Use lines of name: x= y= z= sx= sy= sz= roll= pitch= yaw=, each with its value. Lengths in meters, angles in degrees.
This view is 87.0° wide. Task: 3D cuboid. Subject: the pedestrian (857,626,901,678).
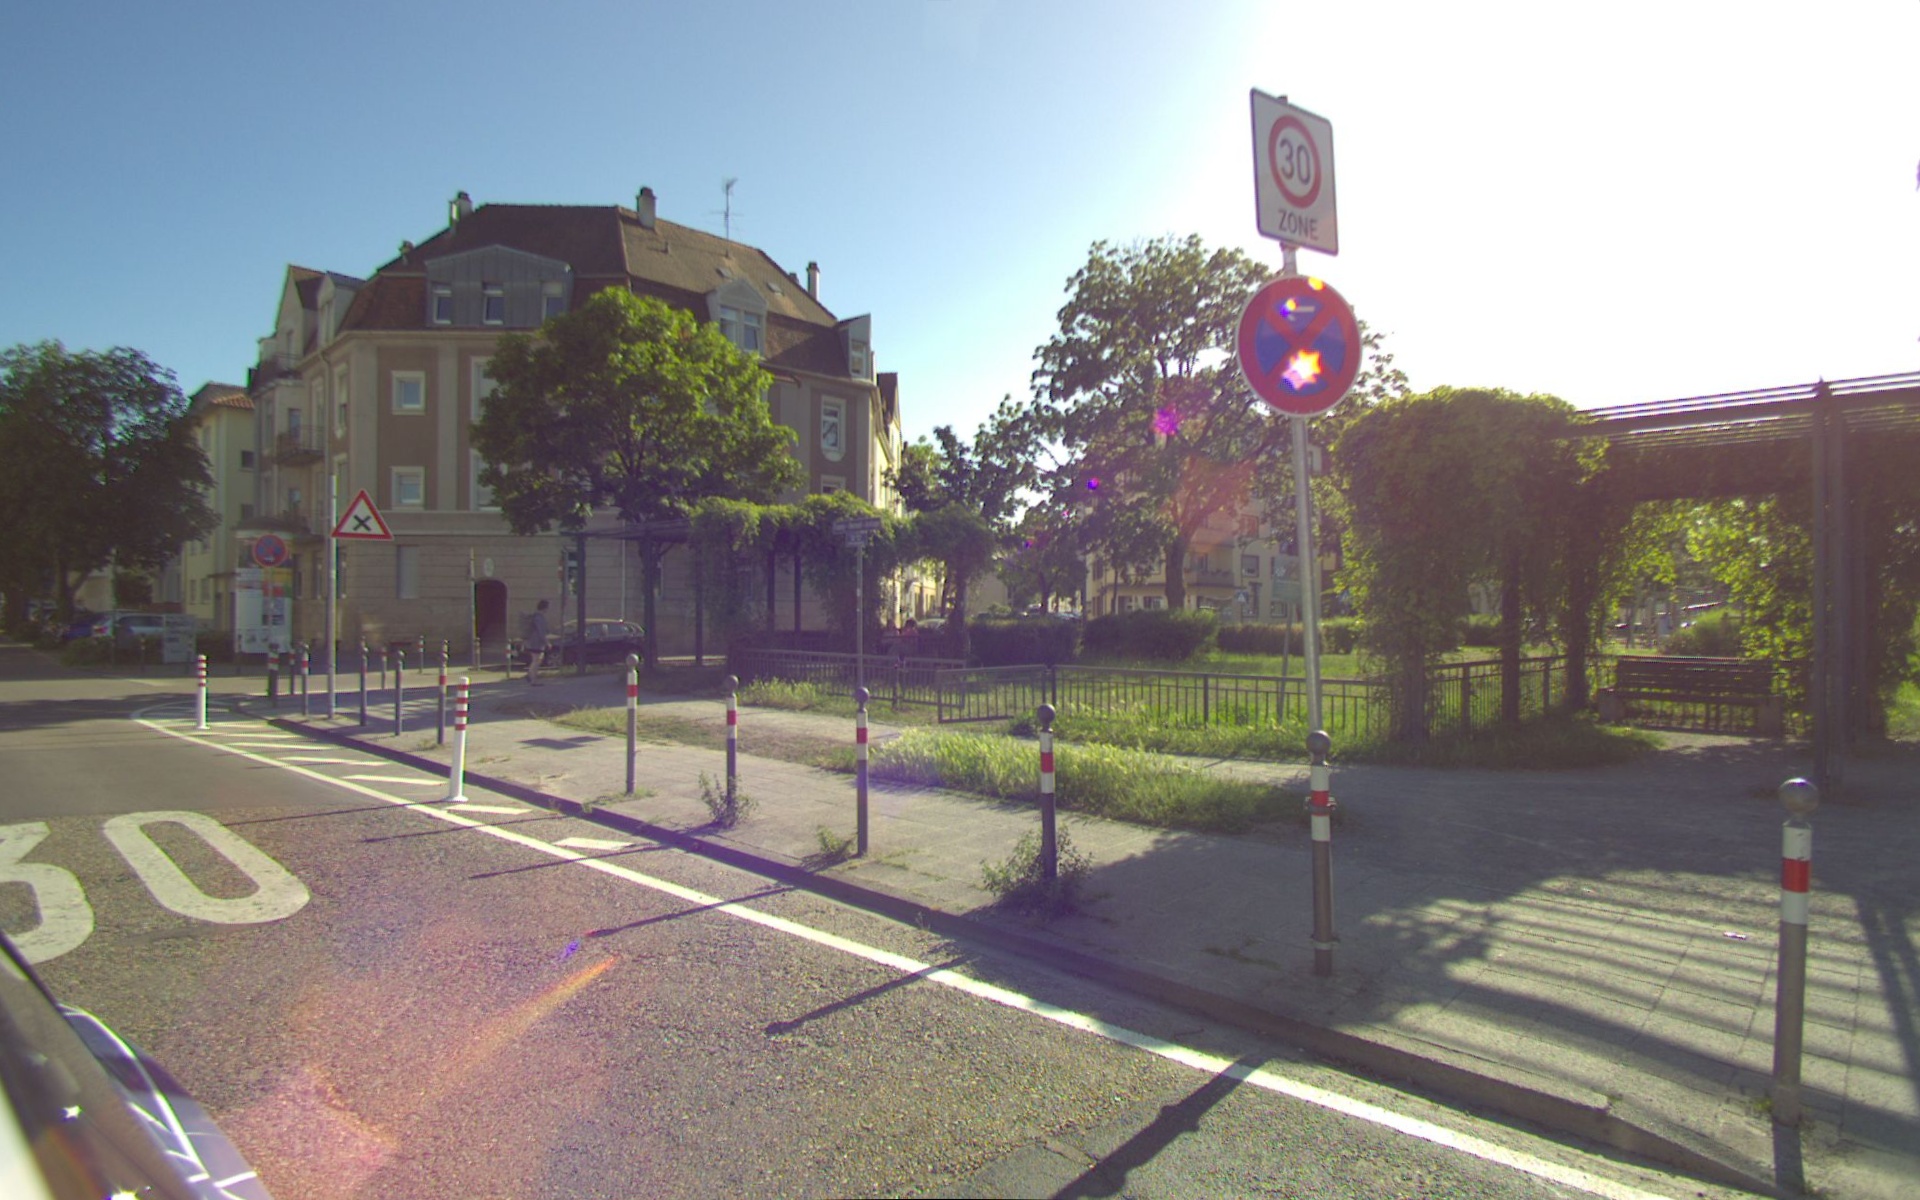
pedestrian: x=-1.855 y=1.181 z=23.175 sx=0.833 sy=1.158 sz=0.599 roll=2 pitch=-2 yaw=-45

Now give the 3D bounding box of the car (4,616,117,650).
car: x=-43.214 y=1.562 z=48.683 sx=1.686 sy=1.506 sz=3.751 roll=-1 pitch=-1 yaw=31

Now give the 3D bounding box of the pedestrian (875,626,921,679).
pedestrian: x=-1.386 y=1.169 z=22.681 sx=0.862 sy=1.147 sz=0.599 roll=2 pitch=-2 yaw=-45

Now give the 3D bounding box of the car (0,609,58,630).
car: x=-76.874 y=1.606 z=83.565 sx=1.692 sy=1.716 sz=3.481 roll=-1 pitch=-1 yaw=42

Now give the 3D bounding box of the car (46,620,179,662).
car: x=-32.598 y=1.543 z=39.009 sx=1.691 sy=1.506 sz=3.739 roll=-1 pitch=-1 yaw=41

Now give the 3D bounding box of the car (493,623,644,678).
car: x=-12.162 y=1.517 z=31.614 sx=1.867 sy=1.494 sz=3.960 roll=3 pitch=1 yaw=41

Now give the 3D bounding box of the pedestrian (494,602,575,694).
pedestrian: x=-8.251 y=0.912 z=19.667 sx=0.909 sy=1.686 sz=1.081 roll=-1 pitch=2 yaw=26

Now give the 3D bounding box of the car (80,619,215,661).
car: x=-30.486 y=1.460 z=38.060 sx=1.691 sy=1.455 sz=3.739 roll=-1 pitch=-1 yaw=41

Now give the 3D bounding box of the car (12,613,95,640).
car: x=-54.002 y=1.554 z=60.336 sx=1.690 sy=1.506 sz=3.484 roll=-1 pitch=-1 yaw=39
